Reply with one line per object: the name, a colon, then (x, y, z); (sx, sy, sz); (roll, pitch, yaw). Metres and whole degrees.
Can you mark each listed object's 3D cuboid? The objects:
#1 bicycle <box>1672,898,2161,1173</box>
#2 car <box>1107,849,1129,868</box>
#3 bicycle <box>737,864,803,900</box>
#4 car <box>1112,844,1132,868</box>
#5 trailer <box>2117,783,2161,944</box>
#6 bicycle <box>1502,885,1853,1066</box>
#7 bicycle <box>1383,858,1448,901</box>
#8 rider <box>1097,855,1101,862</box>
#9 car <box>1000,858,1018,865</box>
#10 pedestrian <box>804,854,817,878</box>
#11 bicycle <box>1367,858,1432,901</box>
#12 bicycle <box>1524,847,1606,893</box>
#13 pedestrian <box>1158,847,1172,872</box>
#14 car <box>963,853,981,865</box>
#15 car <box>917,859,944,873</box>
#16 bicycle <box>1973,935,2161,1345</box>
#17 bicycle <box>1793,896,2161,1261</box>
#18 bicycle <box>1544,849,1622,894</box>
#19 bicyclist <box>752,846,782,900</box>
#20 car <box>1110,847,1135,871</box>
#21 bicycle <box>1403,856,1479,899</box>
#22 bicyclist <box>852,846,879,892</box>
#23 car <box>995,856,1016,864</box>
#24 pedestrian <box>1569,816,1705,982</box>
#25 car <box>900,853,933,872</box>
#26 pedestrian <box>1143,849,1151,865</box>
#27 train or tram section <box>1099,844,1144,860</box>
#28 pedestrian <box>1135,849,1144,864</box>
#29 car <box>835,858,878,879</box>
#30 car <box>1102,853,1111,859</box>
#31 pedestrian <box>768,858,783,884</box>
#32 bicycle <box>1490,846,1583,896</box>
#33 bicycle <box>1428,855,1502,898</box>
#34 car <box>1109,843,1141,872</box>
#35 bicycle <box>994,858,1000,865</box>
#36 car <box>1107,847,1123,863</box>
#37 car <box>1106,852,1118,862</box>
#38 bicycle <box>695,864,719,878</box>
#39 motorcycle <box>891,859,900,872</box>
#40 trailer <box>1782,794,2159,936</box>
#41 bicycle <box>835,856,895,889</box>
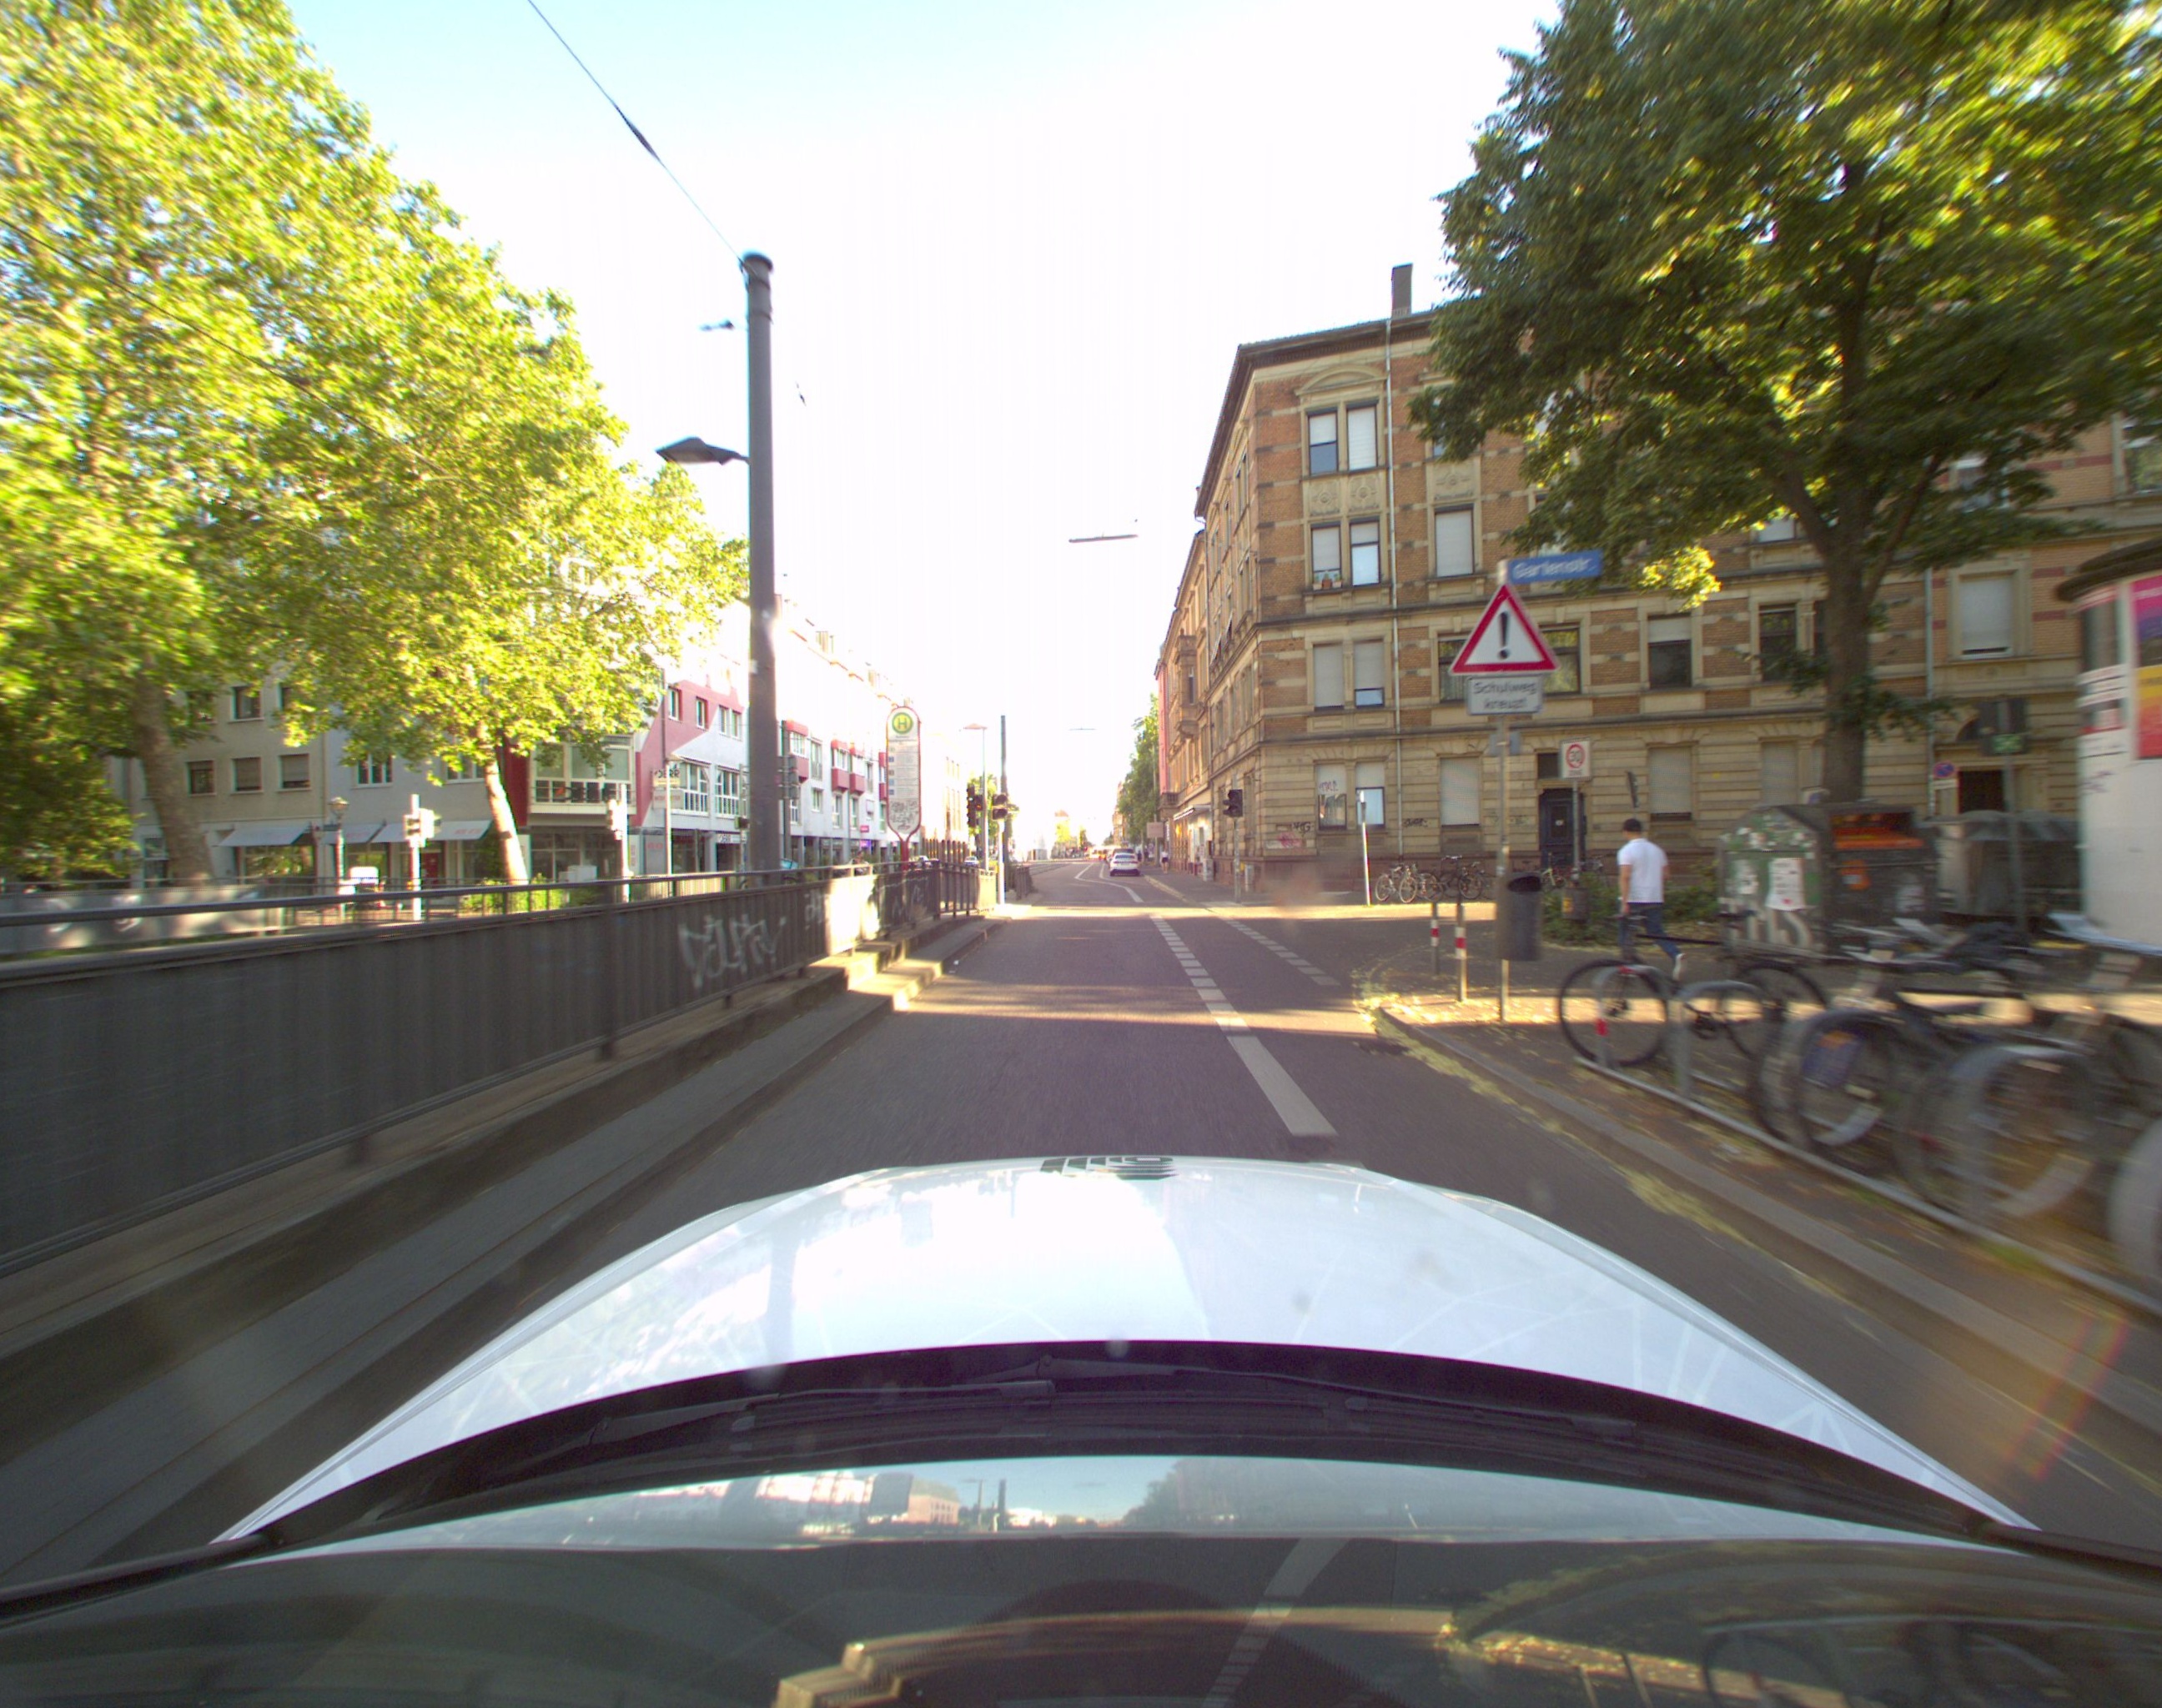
bicycle: (3.856, 0.761, 3.714); (1.829, 1.054, 0.717); (-1, 0, -2)
car: (3.654, 0.427, 80.953); (1.943, 1.788, 5.181); (1, 0, 0)
bicycle: (-10.047, 0.897, 26.340); (1.889, 1.077, 0.583); (2, 0, -3)
car: (3.833, 0.221, 75.538); (1.697, 2.120, 3.710); (0, -1, 4)
trailer: (13.182, 0.071, 8.260); (1.564, 1.884, 3.196); (-3, -1, 12)
bicycle: (3.879, 0.760, 5.389); (1.829, 1.054, 0.710); (-1, 0, -2)
bicycle: (8.436, 0.629, 20.620); (0.418, 1.024, 1.896); (-1, 0, -17)
rider: (3.803, 0.891, 170.119); (0.880, 1.481, 0.713); (1, 0, 2)
car: (-15.836, 1.552, 178.354); (3.542, 1.481, 1.567); (1, 0, -31)
pedestrian: (-19.127, 0.847, 57.589); (0.612, 1.712, 0.745); (-1, 0, -1)
bicycle: (8.027, 0.618, 20.627); (0.452, 1.024, 1.896); (-1, 0, -17)
bicycle: (12.452, 0.390, 21.028); (0.447, 1.123, 1.942); (-1, 0, -22)
pedestrian: (5.449, 0.340, 52.948); (0.772, 1.567, 0.915); (-4, 0, 4)
car: (-14.842, 0.693, 110.953); (1.864, 1.600, 4.252); (0, 0, -1)
car: (-15.551, 1.221, 84.401); (1.861, 1.450, 3.587); (0, 0, 4)
bicycle: (3.848, 0.784, 2.327); (1.908, 1.047, 0.680); (-1, 0, -2)
bicycle: (3.846, 0.740, 2.985); (1.965, 1.104, 0.614); (-1, 0, -2)
bicycle: (12.920, 0.433, 21.022); (0.405, 1.123, 1.895); (-1, 0, -19)
bicyclist: (-10.170, 0.614, 26.354); (0.741, 1.712, 0.533); (-1, 0, -2)
car: (3.298, 0.374, 64.845); (1.947, 1.869, 4.992); (0, 0, 3)
bicycle: (9.153, 0.573, 20.786); (0.464, 1.039, 1.891); (-1, 0, -26)
bicyclist: (-7.521, 0.524, 28.410); (0.739, 1.578, 0.534); (-1, 0, 4)
car: (-15.506, 1.175, 168.225); (3.892, 1.627, 1.858); (1, 0, -30)
pedestrian: (5.917, 0.444, 8.729); (0.780, 1.665, 1.034); (-1, 2, 2)
car: (-15.485, 0.816, 76.915); (2.084, 1.713, 4.819); (0, -1, 1)
pedestrian: (7.106, 0.311, 87.505); (0.772, 1.567, 0.914); (-4, 0, 2)
train or tram section: (11.220, -0.463, 222.640); (12.084, 3.960, 2.684); (2, 0, -19)
pedestrian: (6.305, 0.290, 87.524); (0.772, 1.567, 0.914); (-4, 0, 2)
car: (-16.037, 1.030, 58.363); (1.864, 1.439, 4.704); (0, 0, -1)
car: (6.004, 0.443, 188.953); (2.058, 1.389, 4.226); (1, 0, 1)
pedestrian: (-20.711, 1.150, 55.217); (0.741, 1.712, 0.615); (-1, 0, -3)
bicycle: (11.510, 0.409, 20.665); (0.616, 1.182, 2.089); (-1, 0, -25)
bicycle: (9.715, 0.545, 20.684); (0.497, 1.024, 1.895); (-1, 0, -19)
car: (2.848, 0.244, 52.883); (1.959, 1.771, 4.878); (0, 0, 2)
bicycle: (-12.397, 1.103, 120.597); (0.583, 1.077, 2.176); (-3, 0, -12)
car: (4.626, 0.093, 110.604); (1.963, 2.014, 4.561); (-2, 0, 2)
car: (4.917, 0.513, 129.371); (1.717, 1.568, 4.084); (-2, 0, 1)
bicycle: (-18.714, 0.865, 40.776); (0.455, 0.658, 1.808); (2, 0, -4)
motorcycle: (-17.117, 1.057, 75.058); (0.671, 1.205, 2.129); (1, -1, -15)
trailer: (12.742, 0.130, 12.116); (1.952, 1.732, 3.949); (-2, 0, 15)
bicycle: (-7.531, 0.633, 28.388); (1.885, 1.077, 0.585); (1, 0, 3)
